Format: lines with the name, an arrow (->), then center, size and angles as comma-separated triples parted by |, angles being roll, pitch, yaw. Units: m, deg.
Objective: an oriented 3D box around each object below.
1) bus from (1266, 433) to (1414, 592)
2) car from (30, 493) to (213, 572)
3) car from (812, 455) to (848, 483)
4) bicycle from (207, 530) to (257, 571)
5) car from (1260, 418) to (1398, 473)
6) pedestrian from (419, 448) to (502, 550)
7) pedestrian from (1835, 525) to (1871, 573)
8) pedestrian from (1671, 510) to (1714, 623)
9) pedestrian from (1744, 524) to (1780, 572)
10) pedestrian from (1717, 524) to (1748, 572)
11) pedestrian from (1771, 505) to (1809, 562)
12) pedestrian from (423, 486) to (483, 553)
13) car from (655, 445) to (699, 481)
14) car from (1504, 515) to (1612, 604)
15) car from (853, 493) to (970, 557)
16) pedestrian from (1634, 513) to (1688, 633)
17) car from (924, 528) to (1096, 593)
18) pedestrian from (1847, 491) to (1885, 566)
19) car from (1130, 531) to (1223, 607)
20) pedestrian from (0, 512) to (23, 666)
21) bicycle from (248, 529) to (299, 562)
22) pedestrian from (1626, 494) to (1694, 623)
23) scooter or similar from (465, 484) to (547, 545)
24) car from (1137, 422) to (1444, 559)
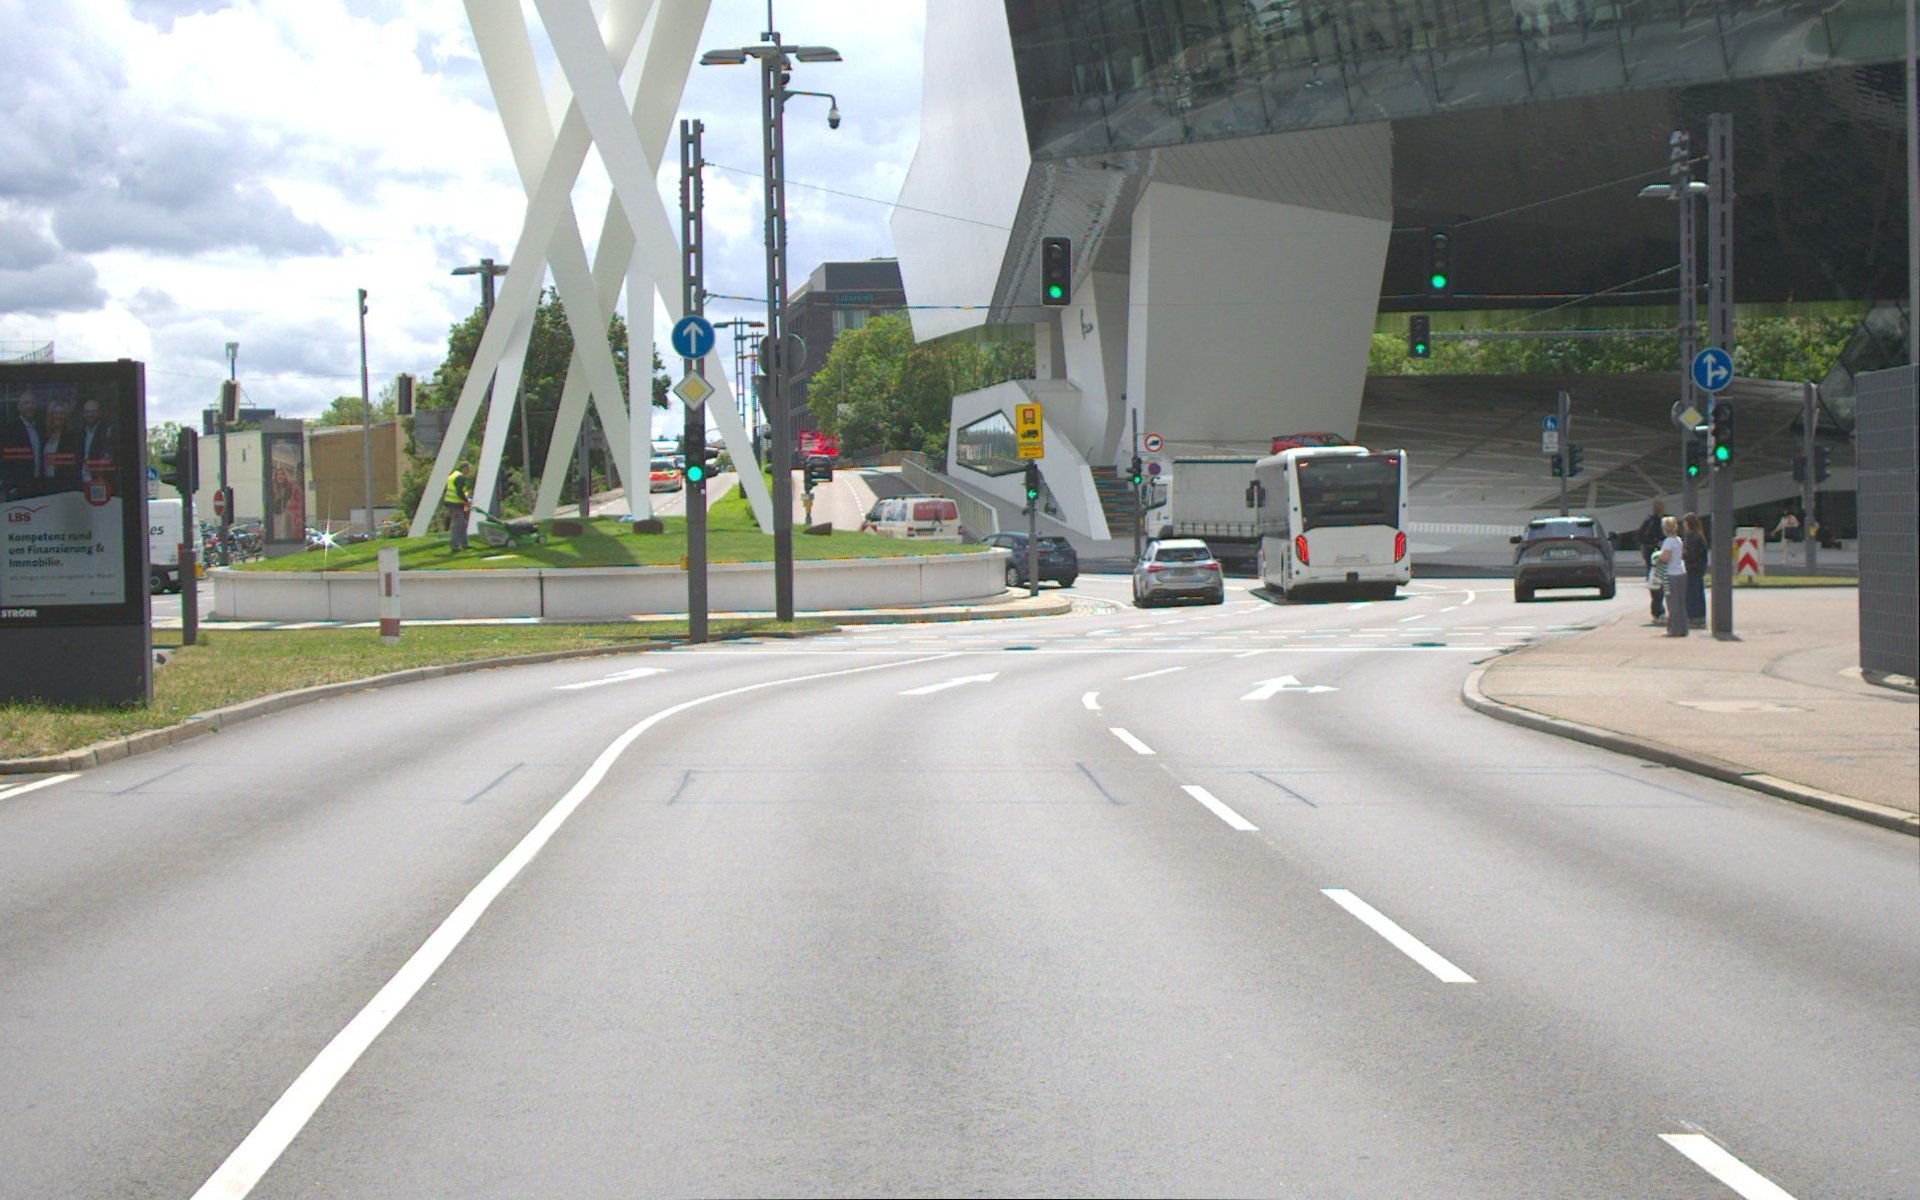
bus -> 8.767, -1.881, 78.600 | 3.072, 3.350, 12.219 | 0, 0, 7
car -> -23.751, -1.902, 97.447 | 4.641, 2.163, 2.000 | 0, 0, 4
car -> -7.689, -7.787, 204.011 | 1.993, 1.630, 4.656 | 0, 3, -1
bicycle -> -24.803, -1.696, 117.089 | 1.605, 1.378, 0.493 | 0, 0, -3
car -> 12.958, -5.461, 120.981 | 4.510, 1.390, 1.995 | 10, 12, 43
pedestrian -> -9.521, -1.928, 65.458 | 1.281, 1.810, 0.987 | -5, 5, -18
pedestrian -> 29.405, -1.671, 113.185 | 0.827, 1.567, 0.924 | 0, 0, -11
pedestrian -> 10.519, -0.483, 49.369 | 0.464, 1.610, 0.663 | 0, 0, 0
pedestrian -> 26.387, -1.719, 113.116 | 0.922, 1.567, 0.829 | 1, 0, 31
pedestrian -> 25.535, -1.728, 113.604 | 0.829, 1.567, 0.922 | 1, 0, 25
pedestrian -> 21.870, -1.742, 90.539 | 0.581, 1.491, 0.771 | 0, 0, -35
pedestrian -> -11.460, -1.815, 77.764 | 0.854, 1.402, 0.964 | -7, -2, 20
car -> -16.121, -7.802, 196.087 | 1.993, 1.976, 4.837 | -1, 2, 0
car -> 11.625, -0.812, 66.729 | 1.994, 1.631, 3.999 | 0, 2, 10
car -> -1.530, -2.308, 106.781 | 1.993, 1.897, 4.000 | 0, 0, -29
pedestrian -> 9.482, -0.367, 46.525 | 0.659, 1.602, 0.822 | 0, 0, 9
car -> 1.294, -1.026, 89.258 | 3.993, 1.631, 1.997 | 1, 0, 26
pedestrian -> 24.474, -1.933, 92.906 | 0.954, 1.978, 1.380 | 0, 3, 14
car -> 4.848, -0.686, 76.743 | 1.994, 1.631, 3.999 | 0, 0, 4
pedestrian -> -13.208, -0.152, 45.966 | 0.953, 2.048, 0.950 | 0, 0, 16
bicycle -> -24.895, -1.985, 124.645 | 1.737, 1.178, 0.670 | 0, 2, -3
pedestrian -> 10.155, -0.600, 49.899 | 0.659, 1.860, 0.793 | 0, 0, -17
scooter or similar -> -8.696, -1.643, 65.857 | 1.400, 1.022, 0.550 | -5, 7, -21
car -> 8.896, -2.891, 93.884 | 3.335, 3.492, 9.341 | 0, 0, -32
